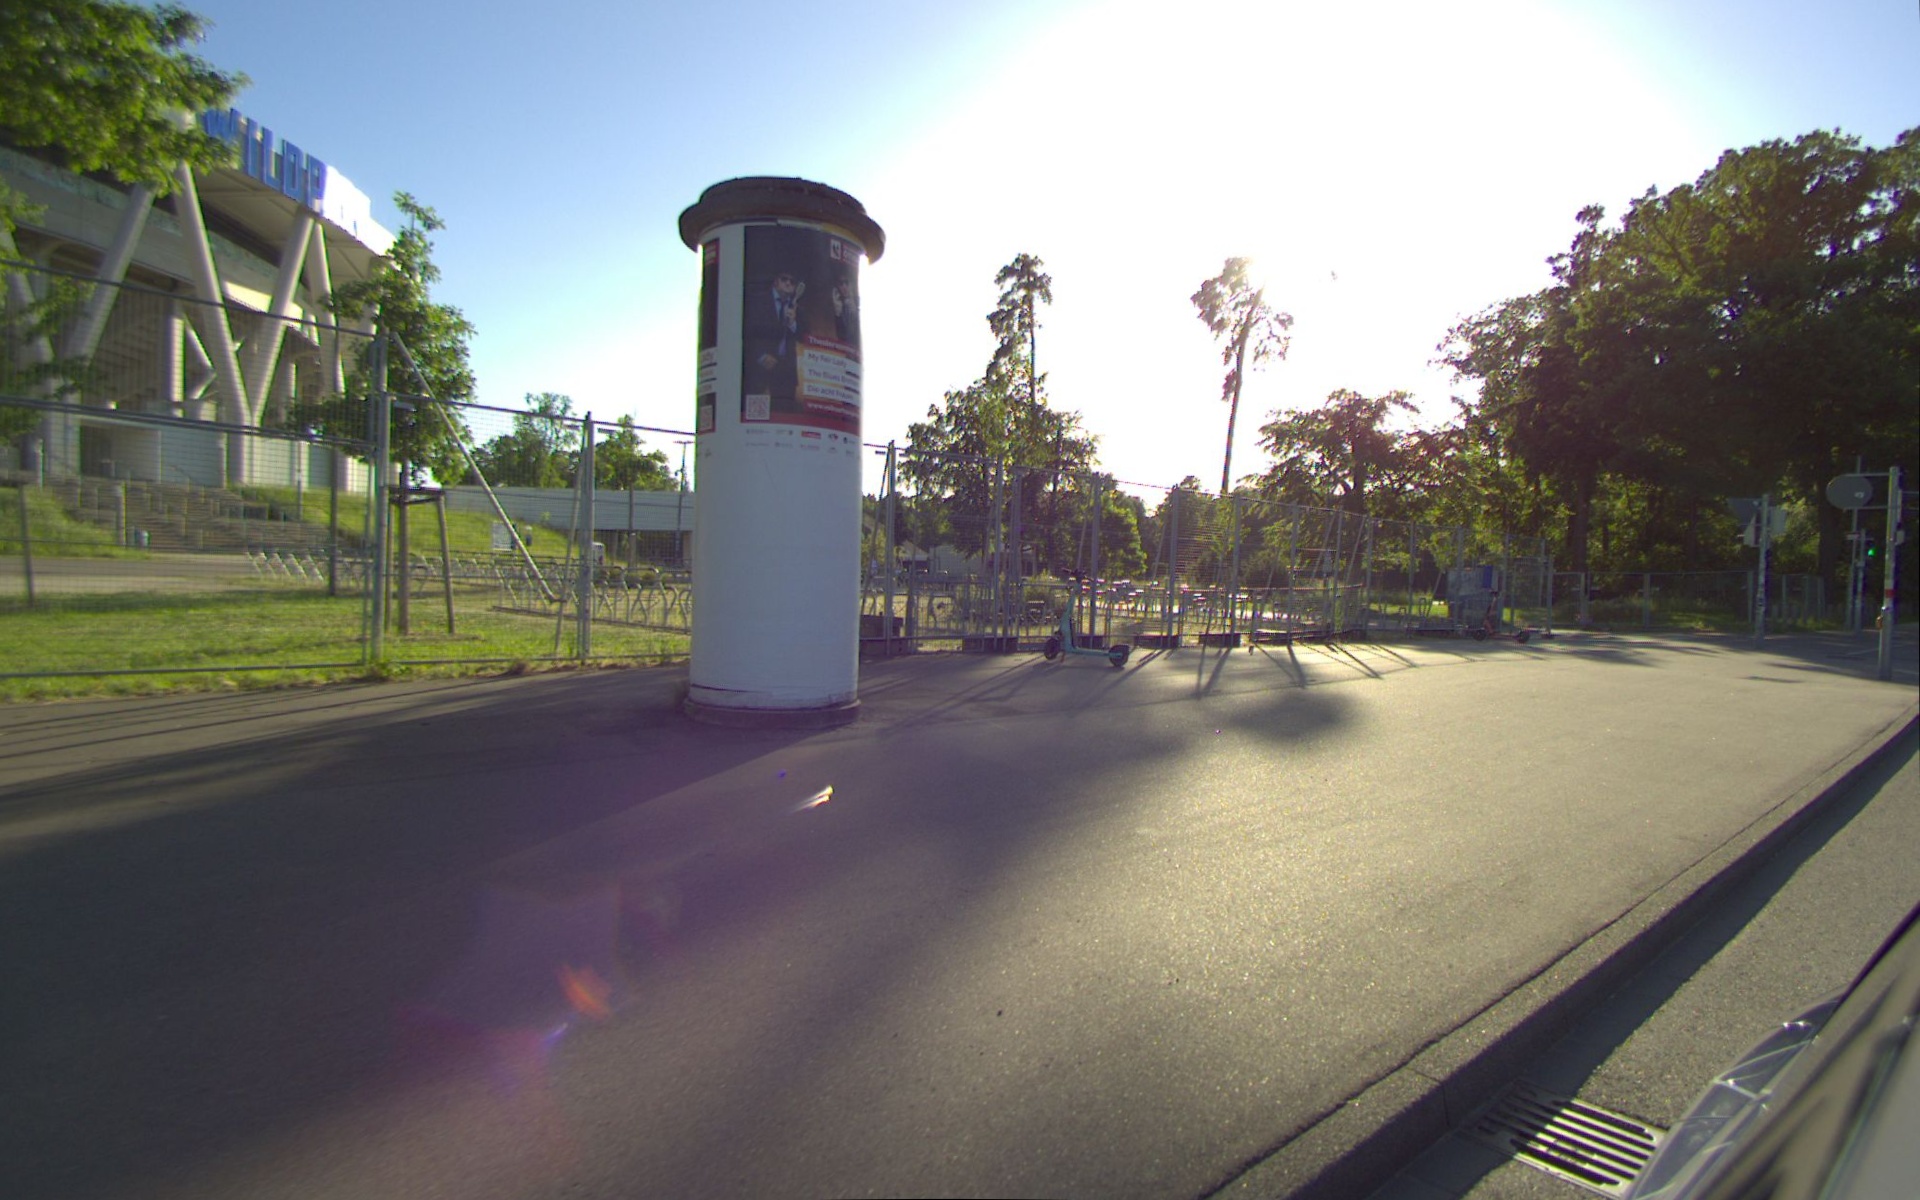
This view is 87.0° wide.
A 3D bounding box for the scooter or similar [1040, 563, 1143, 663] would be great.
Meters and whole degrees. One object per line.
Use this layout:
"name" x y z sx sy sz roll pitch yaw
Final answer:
"scooter or similar" 1.718 0.156 13.273 1.283 1.252 0.334 2 1 16
